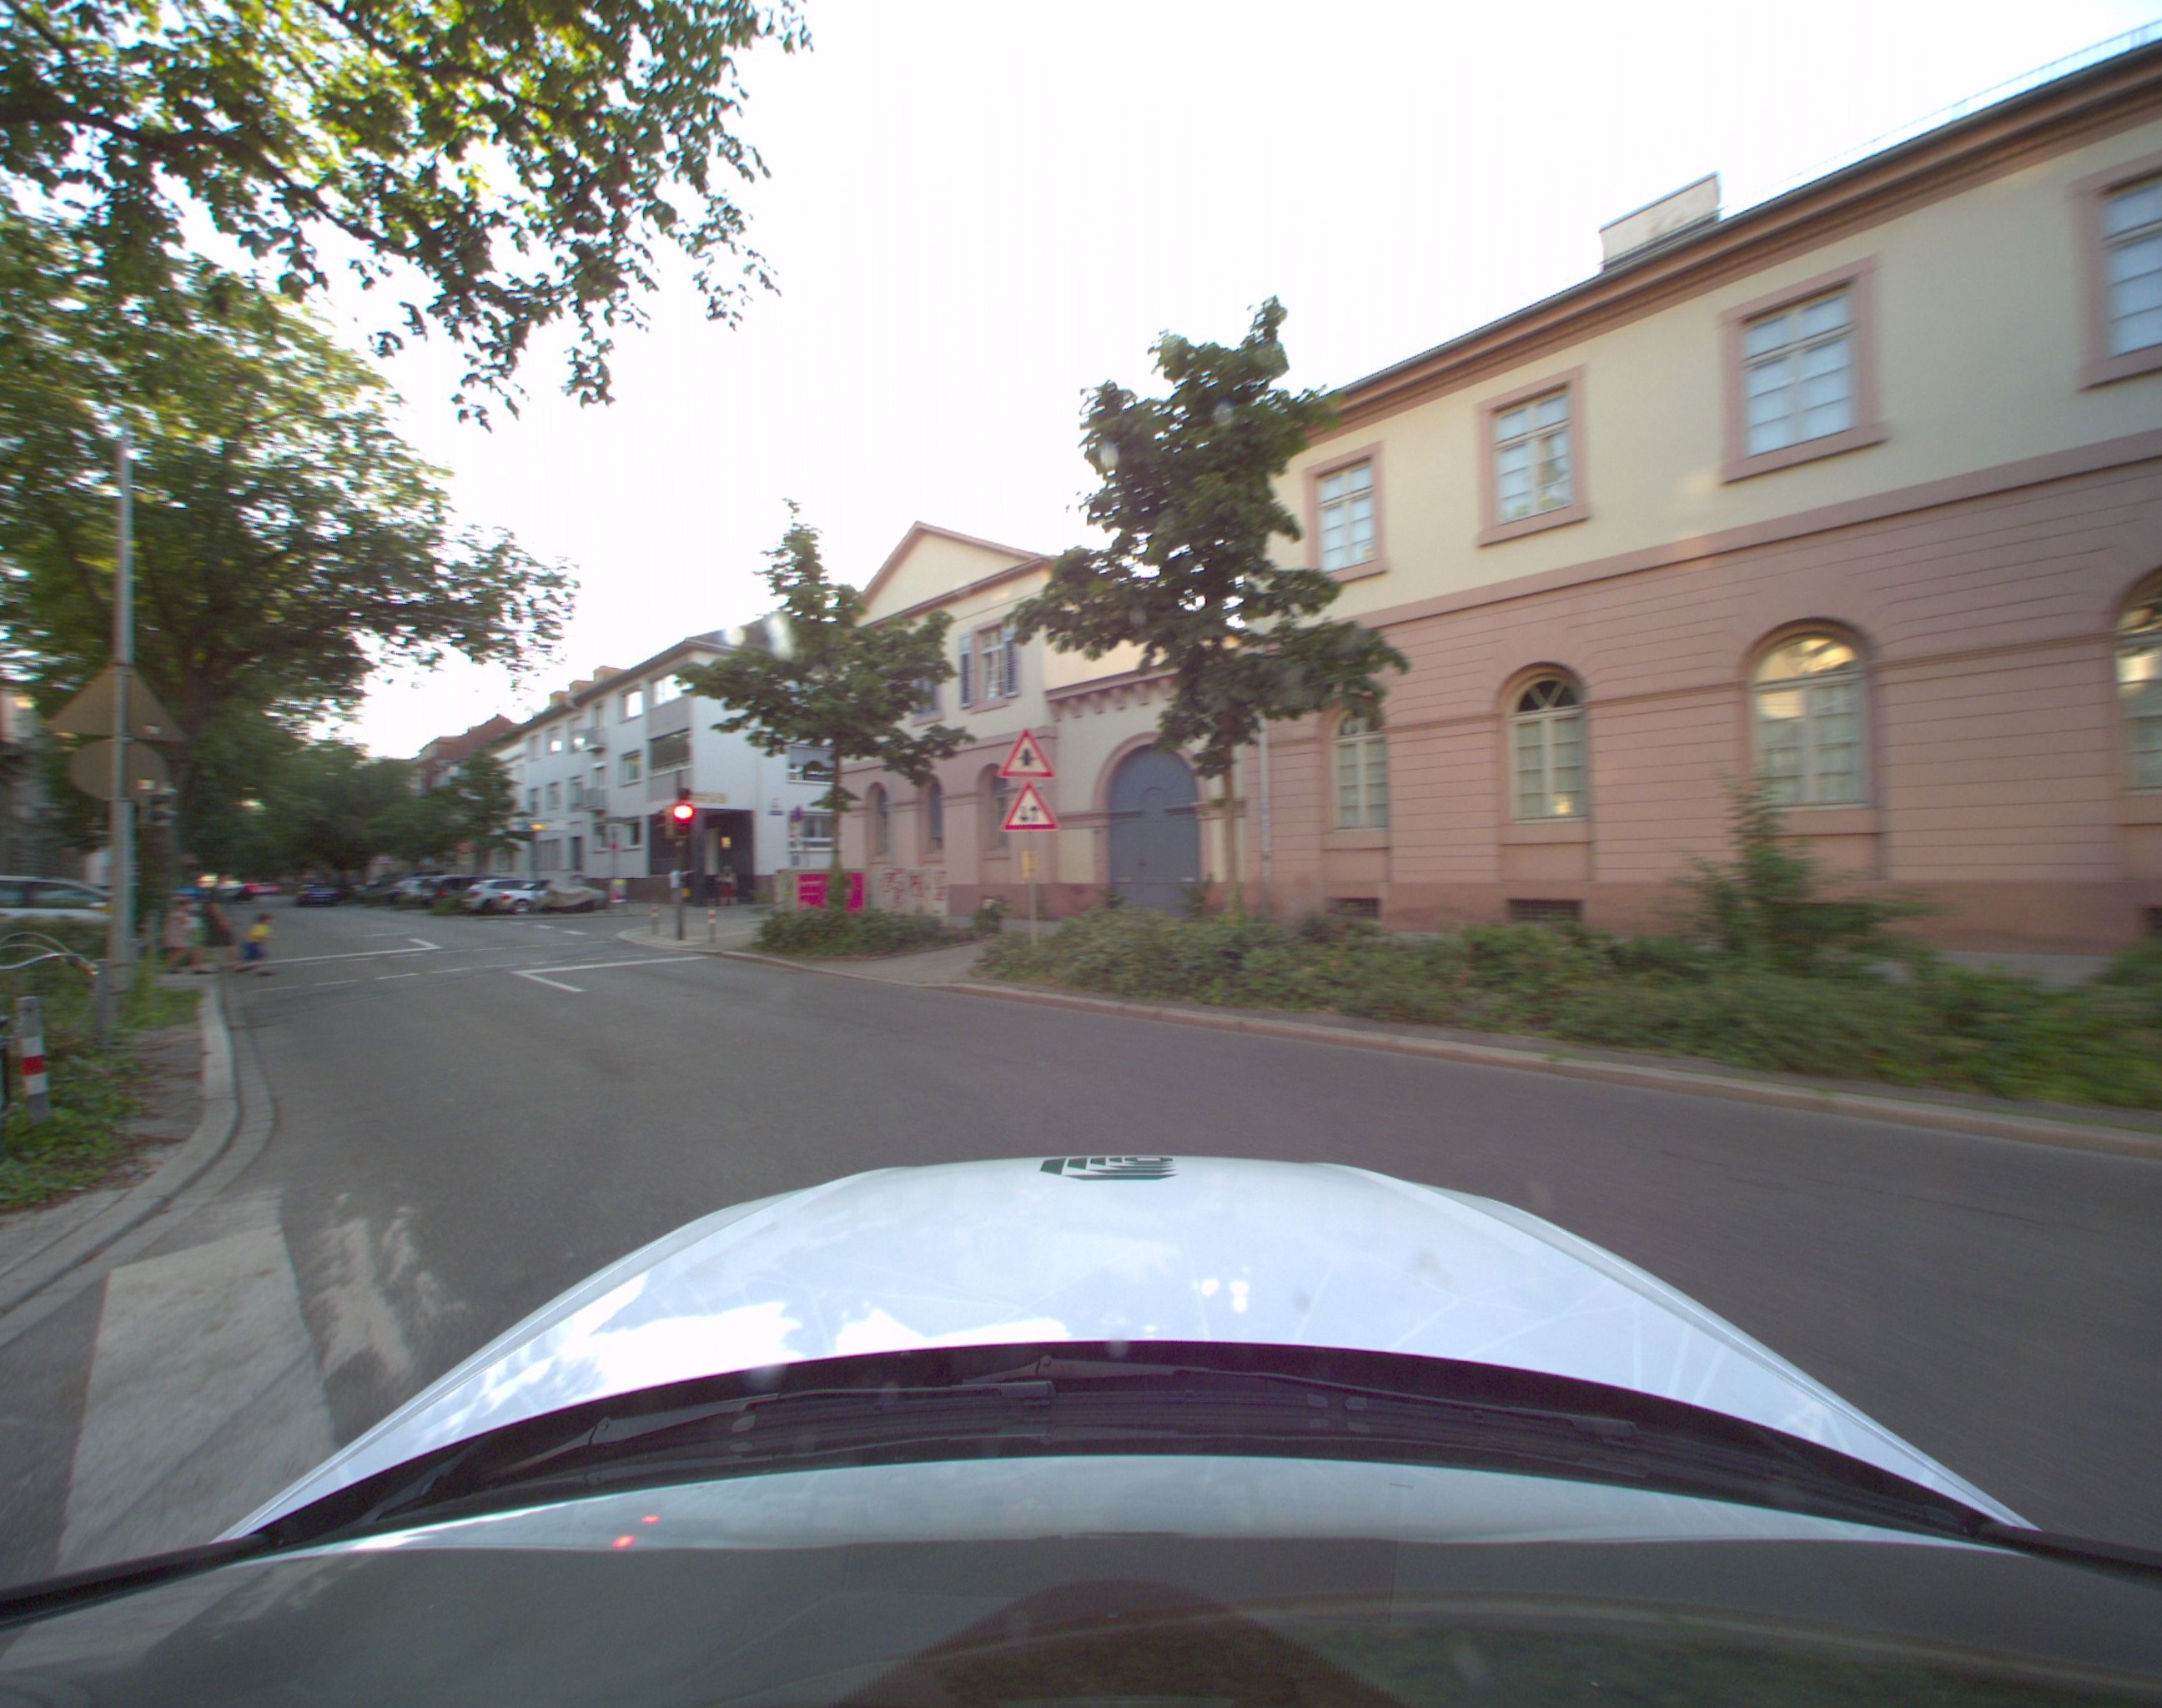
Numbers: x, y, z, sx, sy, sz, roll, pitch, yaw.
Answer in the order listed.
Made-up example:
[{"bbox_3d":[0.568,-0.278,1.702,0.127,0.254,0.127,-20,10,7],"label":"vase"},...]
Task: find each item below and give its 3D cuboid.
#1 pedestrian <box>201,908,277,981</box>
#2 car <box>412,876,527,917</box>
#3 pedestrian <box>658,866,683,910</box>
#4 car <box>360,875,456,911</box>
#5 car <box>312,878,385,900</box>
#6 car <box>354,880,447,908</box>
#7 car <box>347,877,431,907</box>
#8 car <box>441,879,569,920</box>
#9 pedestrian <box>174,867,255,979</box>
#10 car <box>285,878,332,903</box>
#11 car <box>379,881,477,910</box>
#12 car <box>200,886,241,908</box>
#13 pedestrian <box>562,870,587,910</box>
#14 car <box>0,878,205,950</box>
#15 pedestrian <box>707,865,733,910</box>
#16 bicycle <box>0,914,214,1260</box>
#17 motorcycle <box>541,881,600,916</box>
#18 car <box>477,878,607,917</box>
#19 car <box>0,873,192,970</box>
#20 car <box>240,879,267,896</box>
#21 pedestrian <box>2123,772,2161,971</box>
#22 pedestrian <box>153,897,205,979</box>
[{"bbox_3d":[-14.152,1.505,13.712,0.842,1.121,0.560,0,-2,-43],"label":"pedestrian"},{"bbox_3d":[-28.523,1.934,38.066,1.685,1.690,4.052,-2,-1,42],"label":"car"},{"bbox_3d":[-16.399,1.349,32.512,0.710,1.752,0.691,0,-2,-44],"label":"pedestrian"},{"bbox_3d":[-38.664,2.210,46.836,1.685,1.815,4.052,-2,-1,42],"label":"car"},{"bbox_3d":[-57.061,2.723,63.481,1.685,1.602,4.052,-2,-2,42],"label":"car"},{"bbox_3d":[-40.670,2.360,48.740,1.685,1.530,4.052,-2,-2,42],"label":"car"},{"bbox_3d":[-45.750,2.484,53.917,1.685,1.830,4.052,-2,-2,42],"label":"car"},{"bbox_3d":[-23.815,1.825,33.788,1.685,1.442,4.052,-2,-1,42],"label":"car"},{"bbox_3d":[-14.867,1.152,14.000,0.896,1.815,0.784,-1,-1,-43],"label":"pedestrian"},{"bbox_3d":[-49.647,2.348,52.325,3.976,1.562,1.842,-2,-3,41],"label":"car"},{"bbox_3d":[-36.610,2.314,45.706,1.685,1.409,4.052,-2,-1,42],"label":"car"},{"bbox_3d":[-65.537,3.263,61.996,3.940,1.578,1.922,-2,-2,40],"label":"car"},{"bbox_3d":[-23.767,1.664,38.185,0.931,1.841,0.774,-2,-2,43],"label":"pedestrian"},{"bbox_3d":[-26.926,1.577,21.891,1.810,1.689,4.590,-2,-1,43],"label":"car"},{"bbox_3d":[-14.365,1.318,32.412,0.935,1.752,0.765,0,-1,-24],"label":"pedestrian"},{"bbox_3d":[-5.223,1.003,3.897,0.849,1.267,2.546,-1,0,-33],"label":"bicycle"},{"bbox_3d":[-19.096,1.665,30.475,1.815,1.199,0.606,-1,-1,-39],"label":"motorcycle"},{"bbox_3d":[-21.475,1.699,32.540,1.685,1.342,4.052,-2,-1,43],"label":"car"},{"bbox_3d":[-21.628,1.374,16.643,1.809,1.835,4.591,-2,-1,40],"label":"car"},{"bbox_3d":[-89.764,3.615,88.336,3.949,1.660,1.942,-2,-1,42],"label":"car"},{"bbox_3d":[10.557,0.145,7.479,1.069,1.839,0.805,-2,-1,45],"label":"pedestrian"},{"bbox_3d":[-15.507,1.428,14.018,0.544,1.336,0.500,0,-2,-43],"label":"pedestrian"}]
